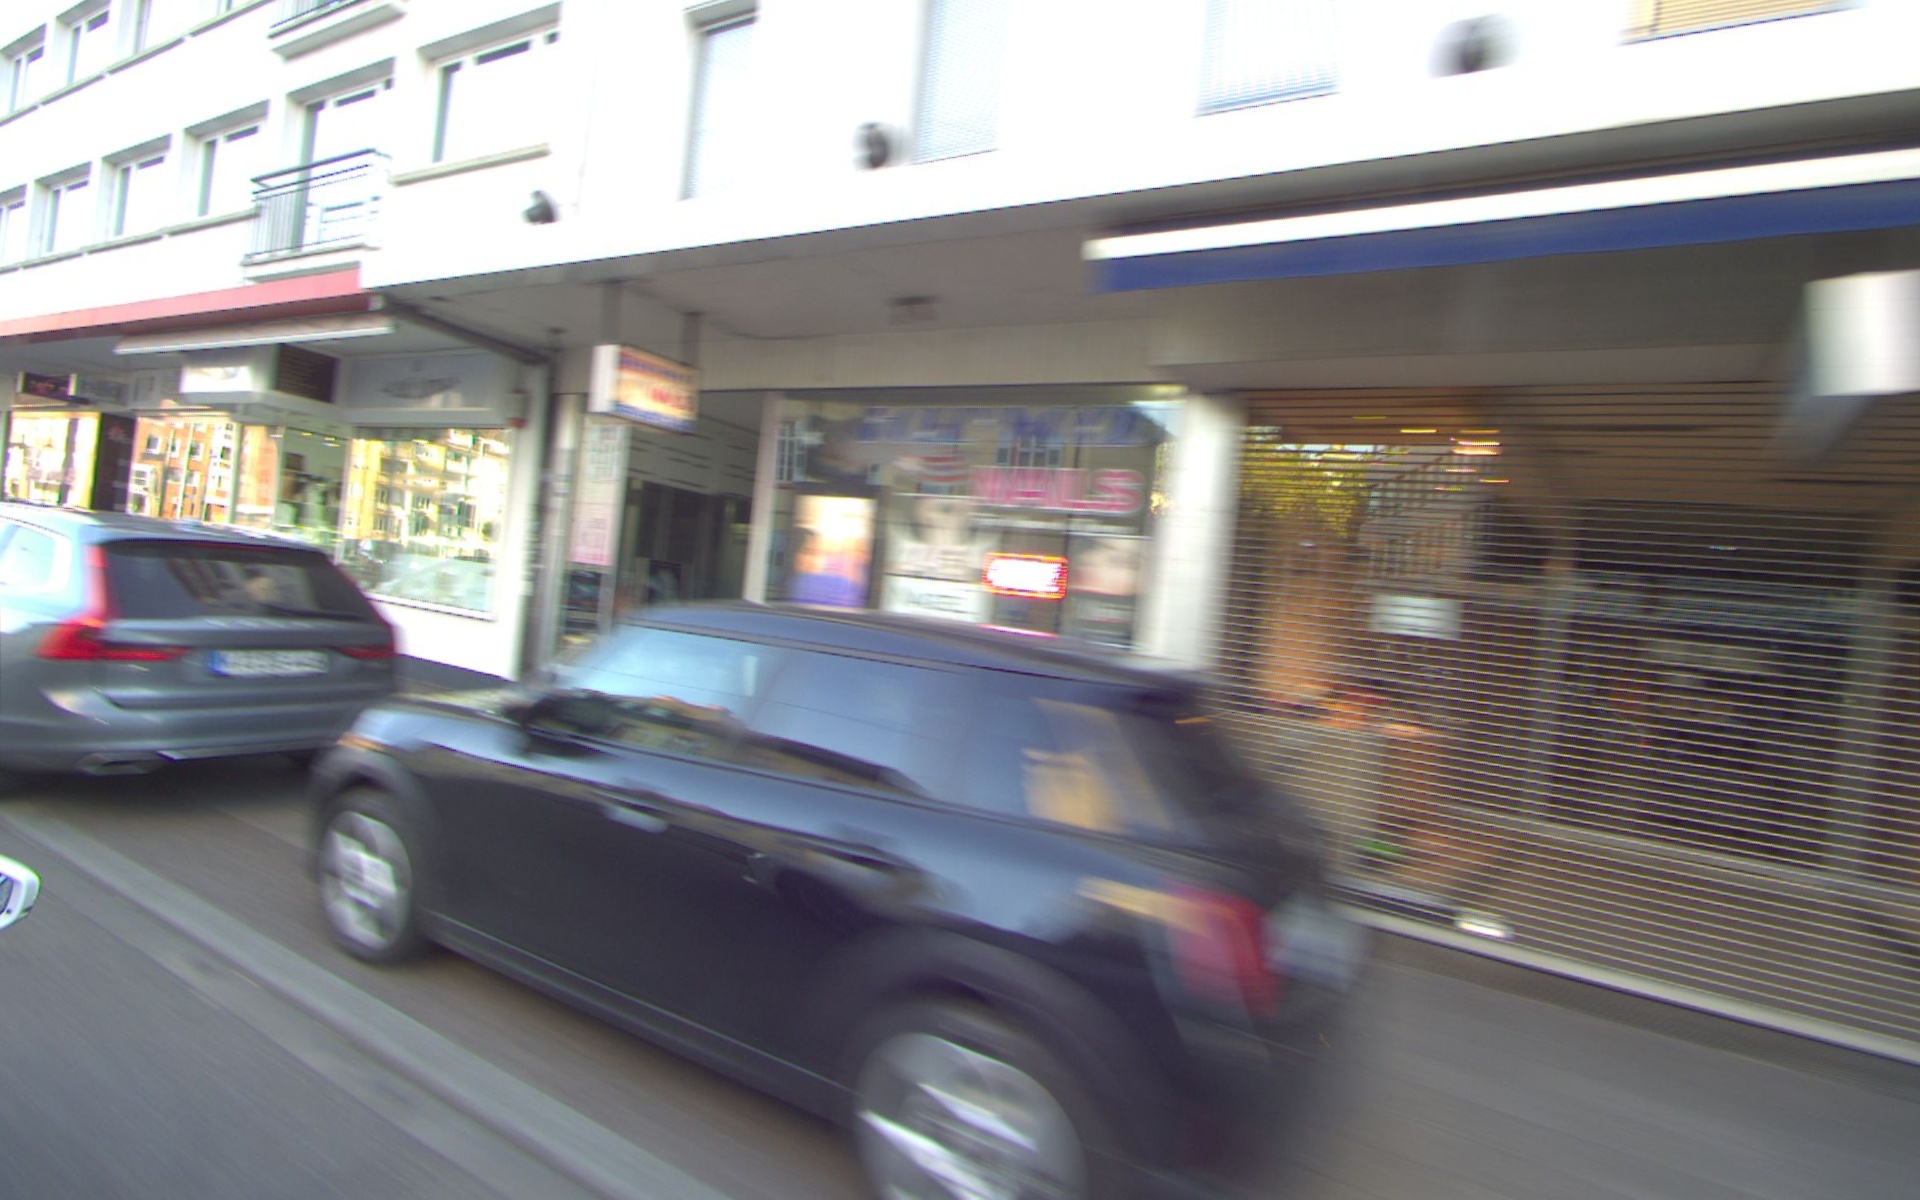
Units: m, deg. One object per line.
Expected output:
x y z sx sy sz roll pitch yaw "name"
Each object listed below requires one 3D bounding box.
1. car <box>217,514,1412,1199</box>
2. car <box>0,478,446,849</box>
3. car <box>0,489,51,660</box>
-0.730 0.665 3.593 3.968 1.531 1.687 7 1 32 "car"
-5.412 0.097 6.116 4.632 1.531 1.792 7 1 30 "car"
-10.644 -0.456 9.634 4.232 1.531 1.736 7 1 32 "car"
